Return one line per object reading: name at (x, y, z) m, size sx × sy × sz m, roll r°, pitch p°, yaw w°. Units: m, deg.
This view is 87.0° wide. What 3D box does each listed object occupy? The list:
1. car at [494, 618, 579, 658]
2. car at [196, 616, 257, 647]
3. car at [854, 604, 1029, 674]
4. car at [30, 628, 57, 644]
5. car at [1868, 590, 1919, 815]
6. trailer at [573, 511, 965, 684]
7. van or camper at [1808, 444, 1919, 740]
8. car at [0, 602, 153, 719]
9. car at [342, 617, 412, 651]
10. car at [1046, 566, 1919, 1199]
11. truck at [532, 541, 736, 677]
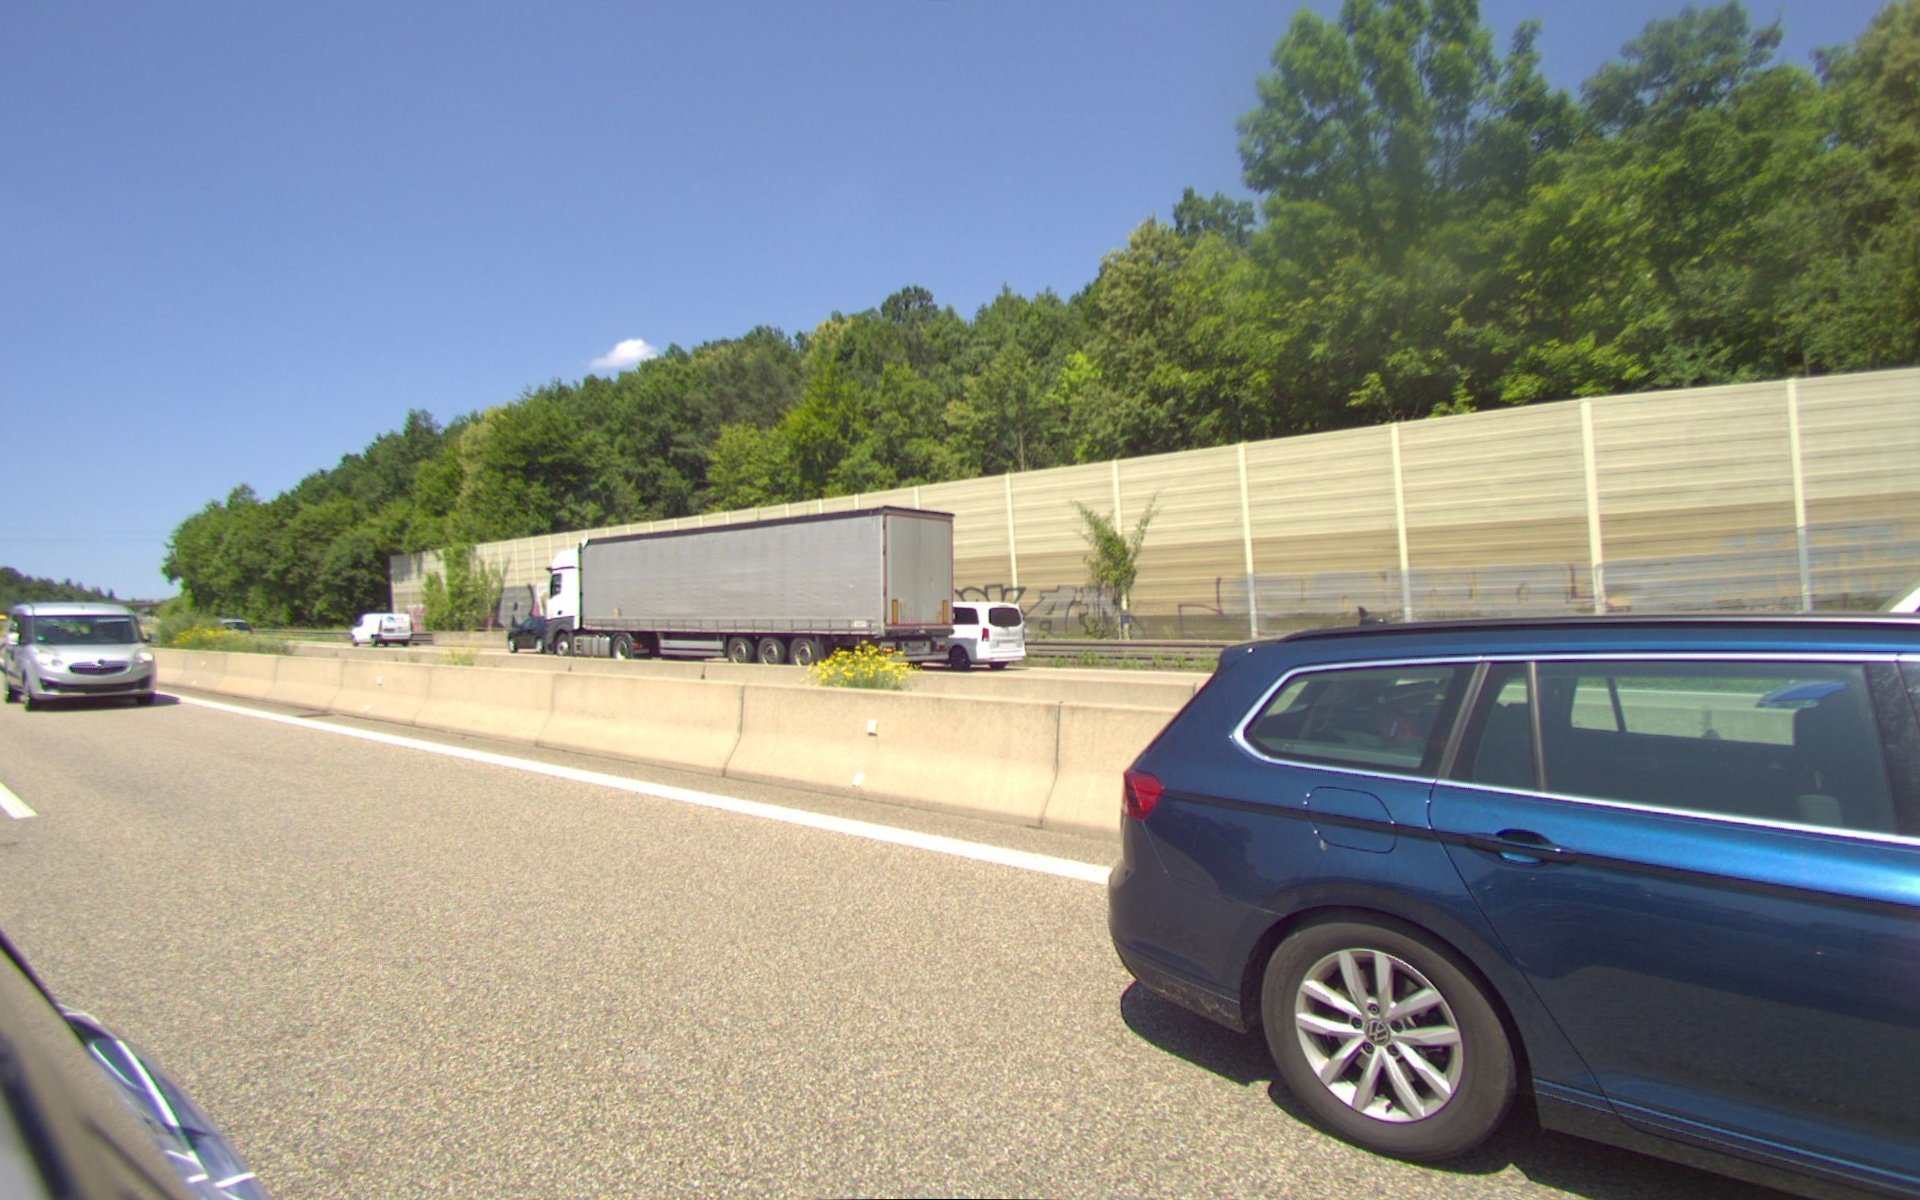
car at (-18.386, 1.609, 43.886) m, size 4.097 × 1.653 × 1.791 m, roll -1°, pitch -1°, yaw 41°
car at (-40.413, 1.720, 55.702) m, size 4.601 × 1.588 × 1.791 m, roll -1°, pitch -1°, yaw 41°
car at (-0.610, 1.065, 28.604) m, size 5.105 × 1.824 × 1.791 m, roll -1°, pitch -1°, yaw 41°
car at (-94.793, 3.665, 104.644) m, size 4.714 × 1.589 × 1.728 m, roll -2°, pitch -1°, yaw 43°
car at (8.581, 0.668, 6.402) m, size 4.125 × 1.549 × 1.693 m, roll -2°, pitch -1°, yaw 41°
trailer at (-6.044, 0.023, 28.566) m, size 13.816 × 3.938 × 2.784 m, roll -1°, pitch -1°, yaw 40°
van or camper at (11.658, -0.094, 8.580) m, size 6.801 × 2.756 × 2.246 m, roll -1°, pitch -1°, yaw 41°
car at (-15.902, 1.010, 18.127) m, size 4.001 × 1.858 × 1.756 m, roll -2°, pitch -2°, yaw 44°
car at (-33.891, 1.929, 58.771) m, size 5.301 × 1.881 × 1.901 m, roll -1°, pitch -1°, yaw 41°
car at (2.621, 0.649, 2.356) m, size 4.727 × 1.438 × 1.714 m, roll -2°, pitch -1°, yaw 41°
truck at (-10.609, 0.307, 32.546) m, size 7.309 × 3.938 × 2.784 m, roll -1°, pitch -1°, yaw 40°
